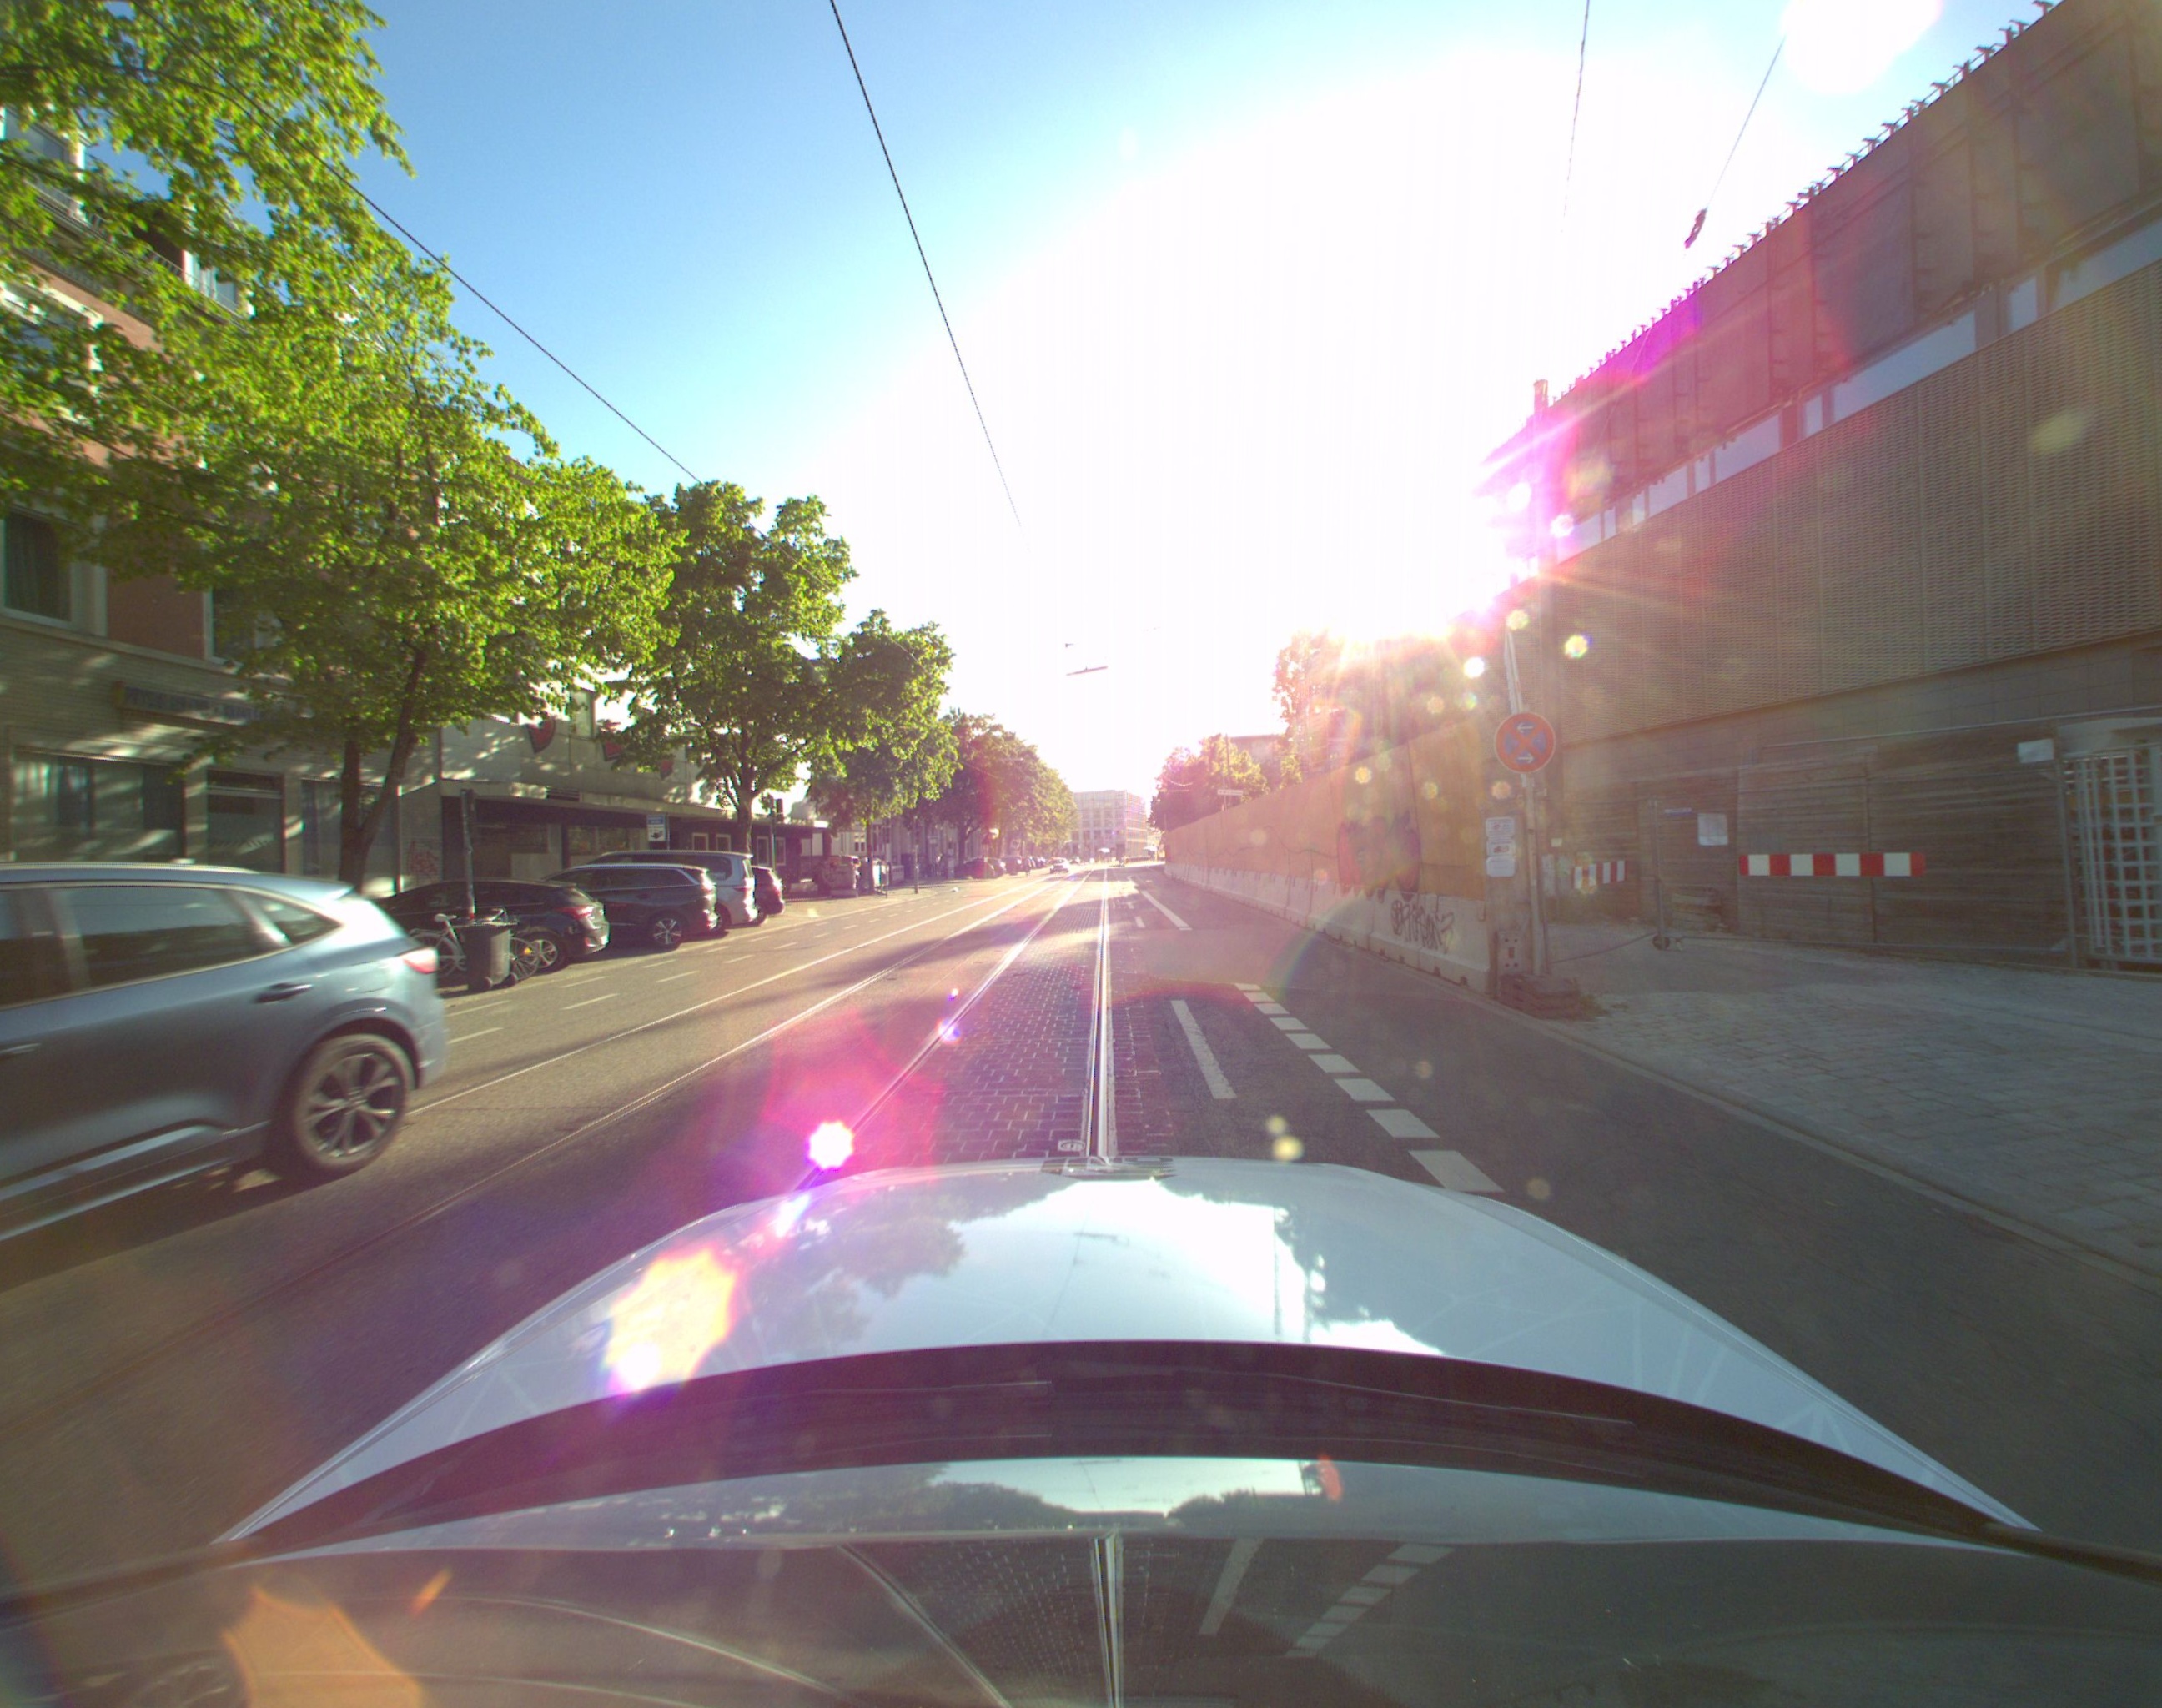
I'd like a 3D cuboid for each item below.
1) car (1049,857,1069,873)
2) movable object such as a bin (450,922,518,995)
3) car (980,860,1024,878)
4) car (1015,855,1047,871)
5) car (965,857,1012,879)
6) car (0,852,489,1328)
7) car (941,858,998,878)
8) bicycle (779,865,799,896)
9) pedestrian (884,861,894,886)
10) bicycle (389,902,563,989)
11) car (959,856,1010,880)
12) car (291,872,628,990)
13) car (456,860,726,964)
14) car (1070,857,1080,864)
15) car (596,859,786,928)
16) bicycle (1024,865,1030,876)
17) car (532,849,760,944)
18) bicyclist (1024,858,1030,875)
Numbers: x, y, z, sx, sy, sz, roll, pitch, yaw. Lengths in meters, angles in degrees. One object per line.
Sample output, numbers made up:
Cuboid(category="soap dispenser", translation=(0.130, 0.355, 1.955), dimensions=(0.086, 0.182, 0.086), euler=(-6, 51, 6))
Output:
Cuboid(category="car", translation=(-2.159, 1.049, 80.127), dimensions=(1.703, 1.436, 4.172), euler=(-2, 0, 2))
Cuboid(category="movable object such as a bin", translation=(-8.256, 1.437, 11.287), dimensions=(0.576, 0.913, 0.572), euler=(0, 0, -14))
Cuboid(category="car", translation=(-7.998, 1.486, 82.827), dimensions=(4.181, 1.721, 1.570), euler=(-2, 0, -26))
Cuboid(category="car", translation=(-5.700, 1.000, 93.113), dimensions=(3.391, 1.697, 1.393), euler=(-2, -1, -26))
Cuboid(category="car", translation=(-7.934, 1.173, 69.840), dimensions=(3.700, 1.721, 1.594), euler=(-2, 0, -34))
Cuboid(category="car", translation=(-4.685, 0.845, 2.893), dimensions=(1.920, 1.629, 4.250), euler=(-2, -1, 2))
Cuboid(category="car", translation=(-8.425, 1.075, 61.667), dimensions=(3.927, 1.453, 1.621), euler=(0, -1, -32))
Cuboid(category="bicycle", translation=(-13.304, 1.178, 37.134), dimensions=(0.525, 1.344, 2.176), euler=(-2, 0, -11))
Cuboid(category="pedestrian", translation=(-12.182, 1.243, 51.649), dimensions=(0.342, 1.572, 0.515), euler=(-2, 0, 30))
Cuboid(category="bicycle", translation=(-8.769, 1.306, 11.883), dimensions=(1.970, 1.144, 0.490), euler=(0, -1, -17))
Cuboid(category="car", translation=(-7.655, 1.108, 64.775), dimensions=(3.700, 1.721, 1.594), euler=(-2, 0, -34))
Cuboid(category="car", translation=(-9.761, 1.145, 13.180), dimensions=(3.865, 1.476, 1.833), euler=(-3, 0, -17))
Cuboid(category="car", translation=(-9.499, 1.066, 16.208), dimensions=(4.249, 1.685, 1.799), euler=(-3, 0, -19))
Cuboid(category="car", translation=(-1.242, 1.450, 176.515), dimensions=(1.550, 1.530, 4.007), euler=(-2, 0, 6))
Cuboid(category="car", translation=(-10.069, 0.979, 21.385), dimensions=(4.300, 1.666, 1.897), euler=(1, -1, -23))
Cuboid(category="bicycle", translation=(-4.620, 1.427, 69.536), dimensions=(0.448, 0.881, 1.899), euler=(-2, 0, -3))
Cuboid(category="car", translation=(-9.764, 0.886, 18.735), dimensions=(4.369, 1.986, 1.936), euler=(0, -1, -20))
Cuboid(category="bicyclist", translation=(-4.607, 1.057, 69.544), dimensions=(0.456, 1.378, 0.640), euler=(-2, 0, -4))
